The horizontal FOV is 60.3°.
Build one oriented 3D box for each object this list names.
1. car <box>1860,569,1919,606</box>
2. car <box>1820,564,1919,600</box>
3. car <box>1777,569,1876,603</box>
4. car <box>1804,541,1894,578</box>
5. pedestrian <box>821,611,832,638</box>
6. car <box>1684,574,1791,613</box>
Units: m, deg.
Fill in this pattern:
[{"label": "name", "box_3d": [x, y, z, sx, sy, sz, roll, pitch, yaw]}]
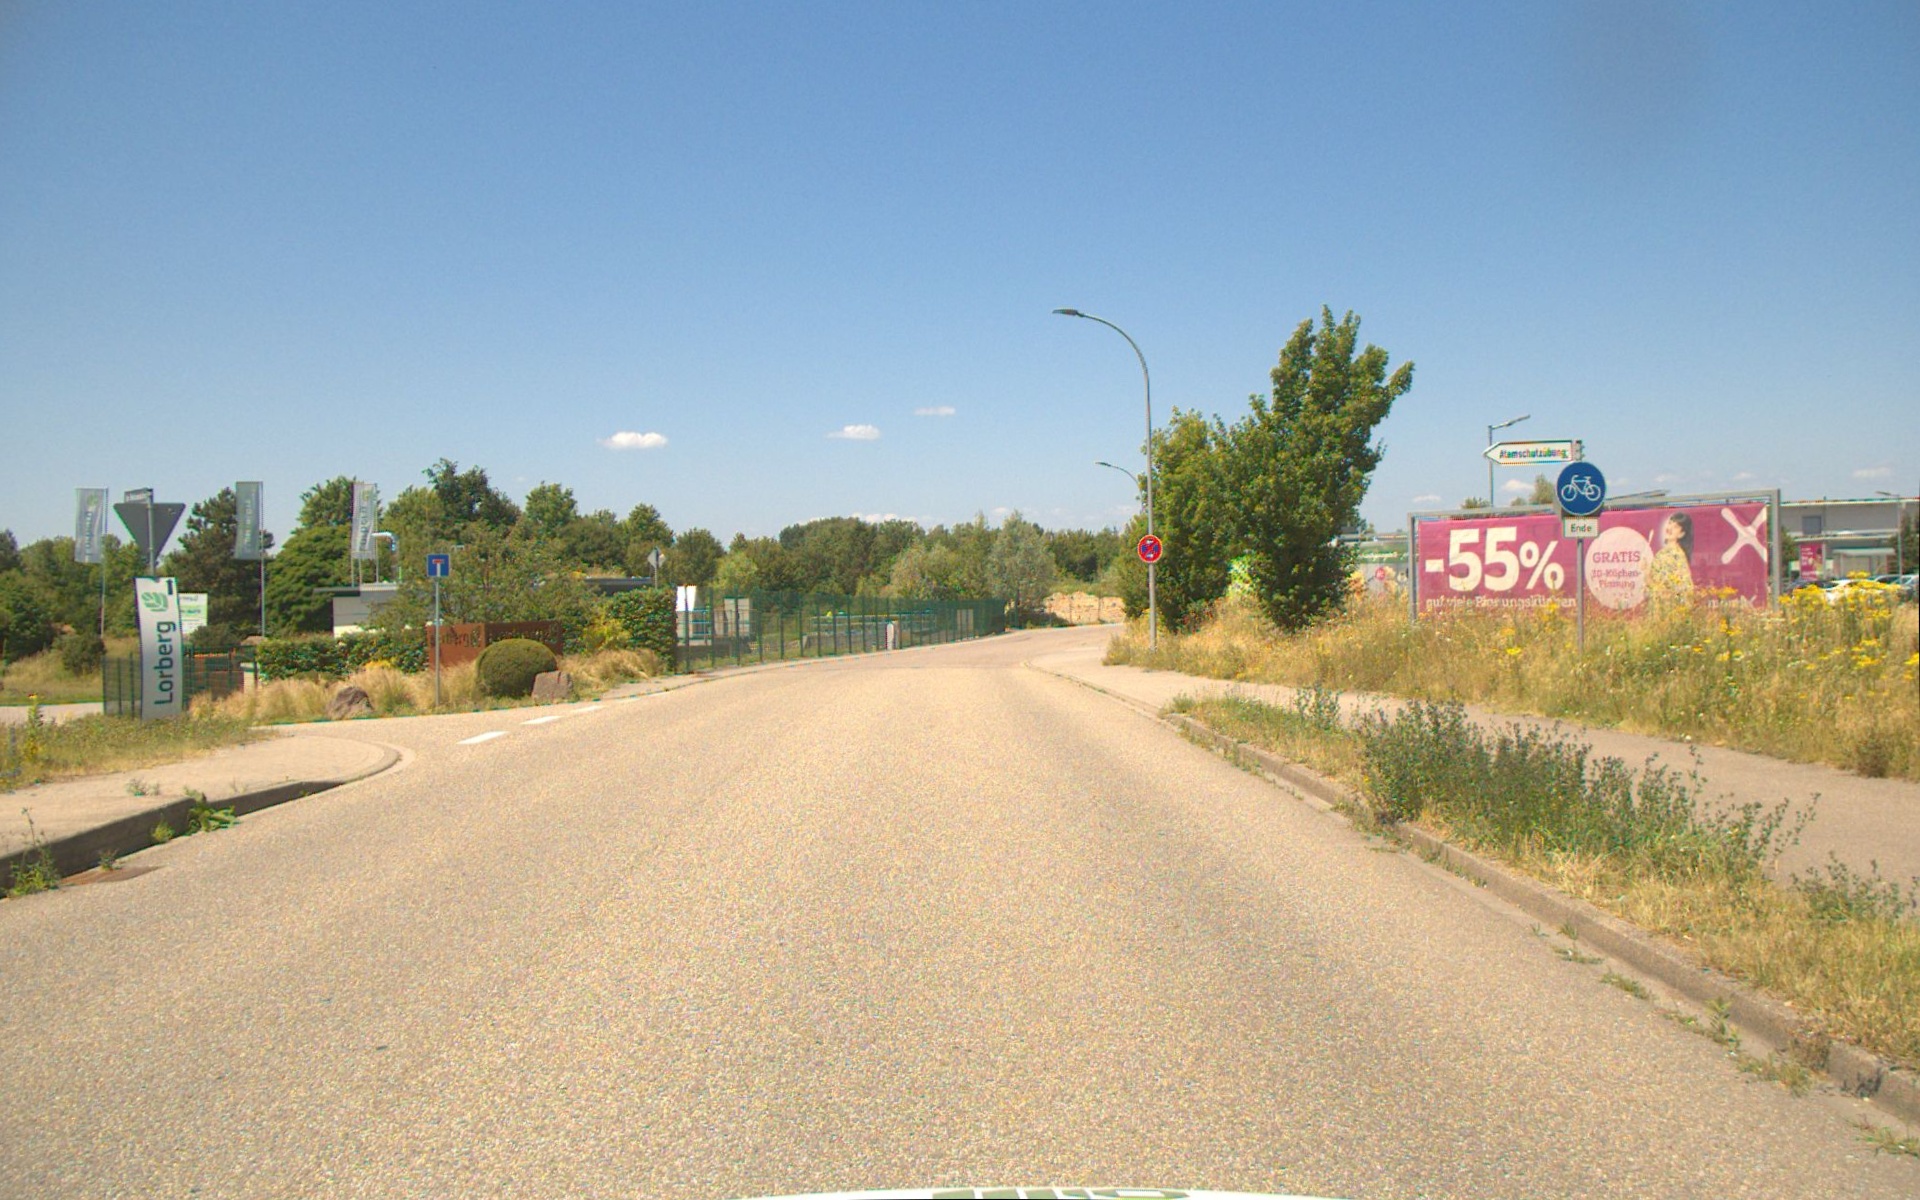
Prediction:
[{"label": "car", "box_3d": [42.504, -0.589, 73.442, 3.904, 1.545, 2.000, -2, -1, 2]}, {"label": "car", "box_3d": [43.624, -0.873, 79.150, 3.903, 1.545, 2.001, -2, -1, 3]}, {"label": "car", "box_3d": [43.533, -0.690, 83.166, 3.903, 1.545, 2.001, -2, -1, 3]}, {"label": "car", "box_3d": [49.578, -2.257, 92.276, 3.903, 1.880, 2.001, -2, -1, 3]}, {"label": "pedestrian", "box_3d": [-9.411, 1.710, 116.617, 0.593, 1.871, 0.805, -2, -1, 7]}, {"label": "car", "box_3d": [32.843, -0.289, 69.907, 3.656, 1.598, 1.892, -1, 0, 5]}]
